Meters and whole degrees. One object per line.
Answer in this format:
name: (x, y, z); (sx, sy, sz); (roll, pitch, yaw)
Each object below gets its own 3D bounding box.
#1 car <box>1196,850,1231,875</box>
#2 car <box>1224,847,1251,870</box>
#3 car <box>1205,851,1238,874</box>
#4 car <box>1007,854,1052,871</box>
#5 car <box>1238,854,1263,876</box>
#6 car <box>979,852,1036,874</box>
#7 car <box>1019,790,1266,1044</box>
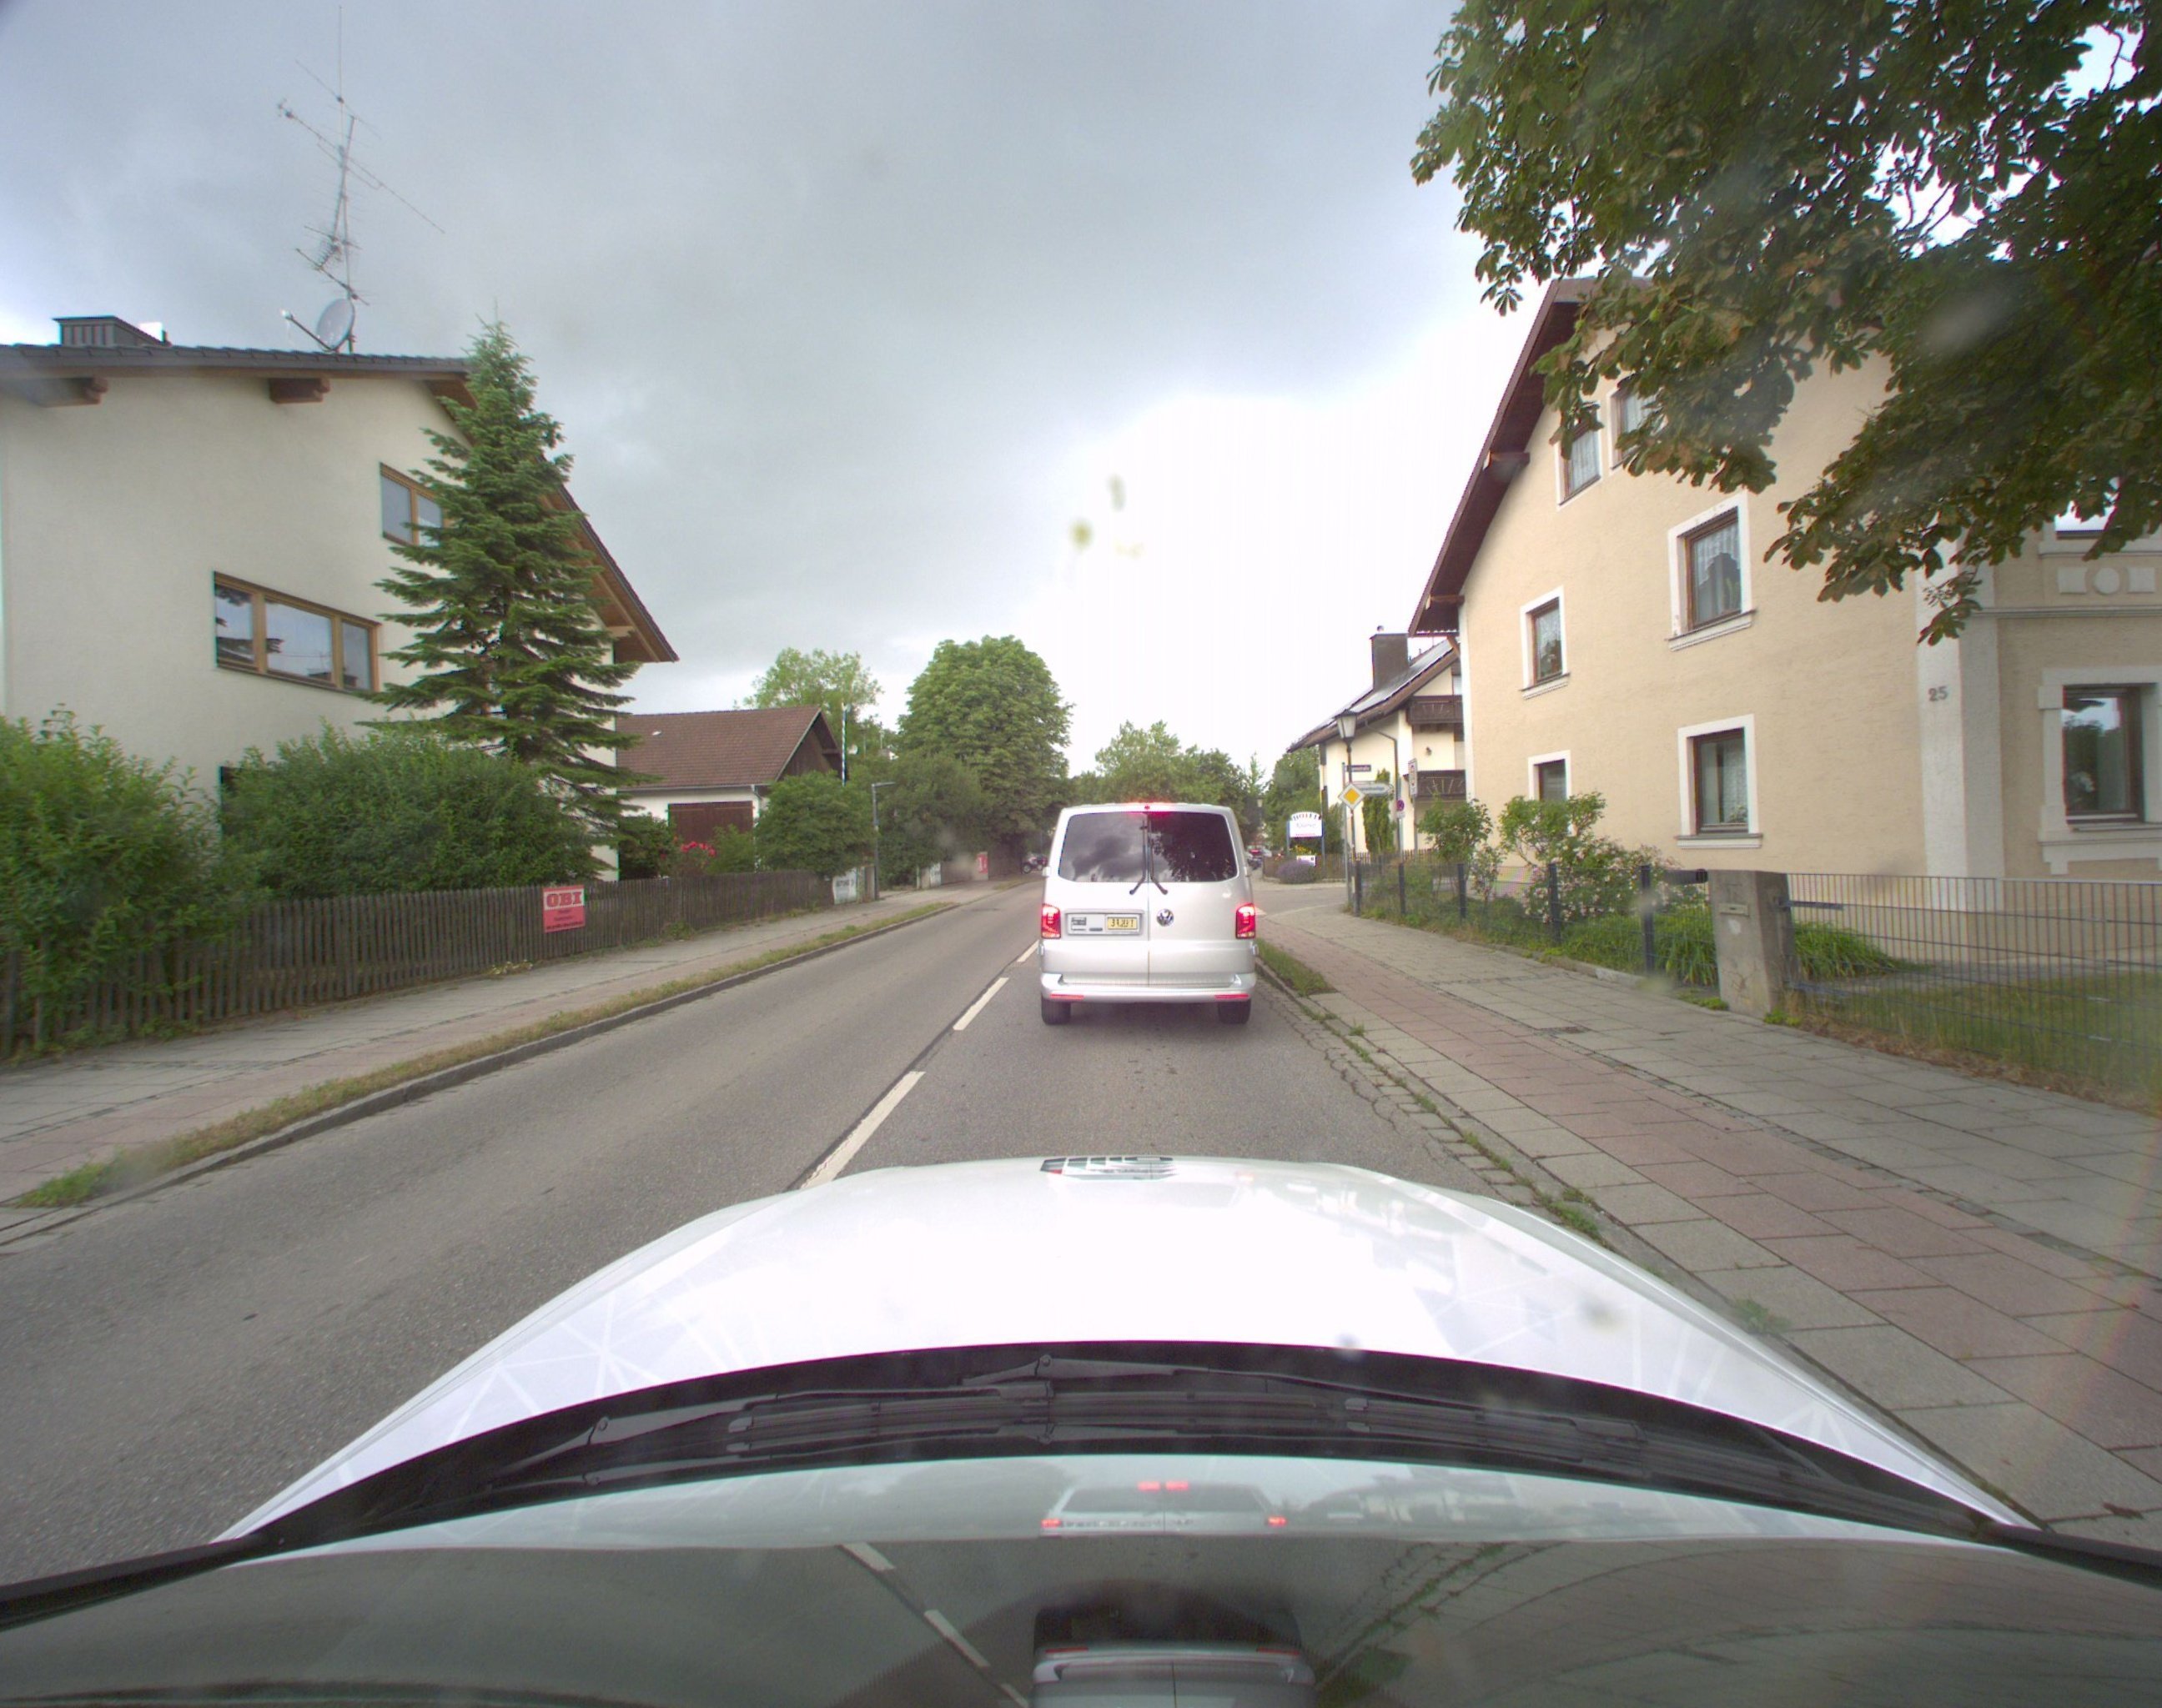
car: (8.555, 0.530, 52.290); (1.868, 1.535, 3.935); (-2, 0, 14)
car: (12.653, 0.341, 65.749); (1.867, 1.748, 4.096); (-2, 0, 14)
car: (9.879, 0.588, 57.142); (1.867, 1.535, 3.937); (-2, 0, 16)
car: (-4.429, 0.710, 69.518); (3.748, 1.346, 1.579); (-1, 0, -9)
car: (15.131, 0.941, 72.430); (1.867, 1.825, 3.937); (-2, 0, 16)
car: (-5.349, 0.675, 59.202); (3.982, 1.486, 1.996); (-1, 0, -7)
car: (0.572, 0.494, 8.352); (1.874, 1.940, 3.923); (-2, 0, 3)
